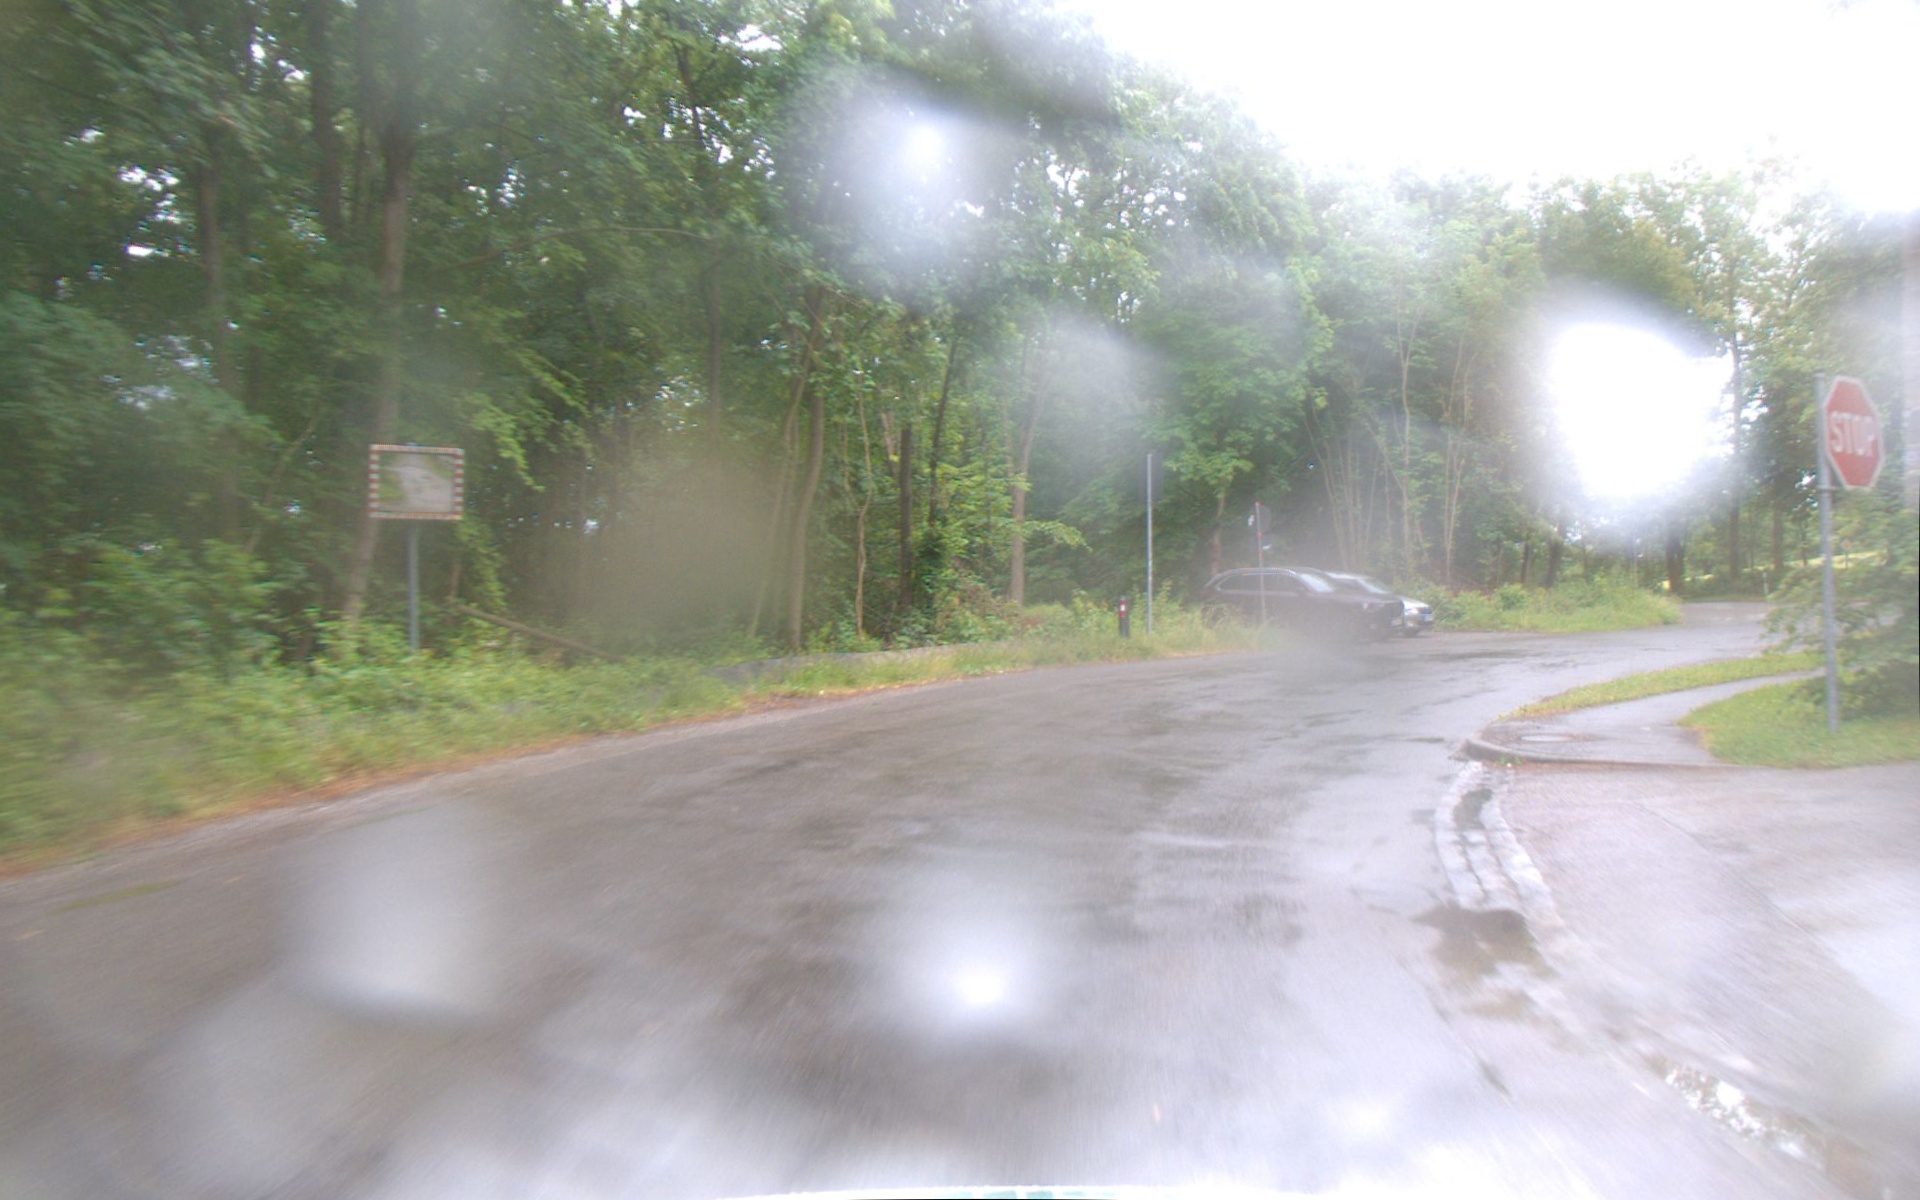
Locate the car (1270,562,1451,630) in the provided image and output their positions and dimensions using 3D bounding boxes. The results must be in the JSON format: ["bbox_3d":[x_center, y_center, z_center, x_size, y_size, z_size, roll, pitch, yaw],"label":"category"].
[{"bbox_3d":[9.949,-0.106,41.266,4.078,1.581,1.762,0,2,44],"label":"car"}]

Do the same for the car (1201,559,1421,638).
[{"bbox_3d":[8.160,-0.056,38.741,4.754,1.706,1.865,0,2,42],"label":"car"}]
